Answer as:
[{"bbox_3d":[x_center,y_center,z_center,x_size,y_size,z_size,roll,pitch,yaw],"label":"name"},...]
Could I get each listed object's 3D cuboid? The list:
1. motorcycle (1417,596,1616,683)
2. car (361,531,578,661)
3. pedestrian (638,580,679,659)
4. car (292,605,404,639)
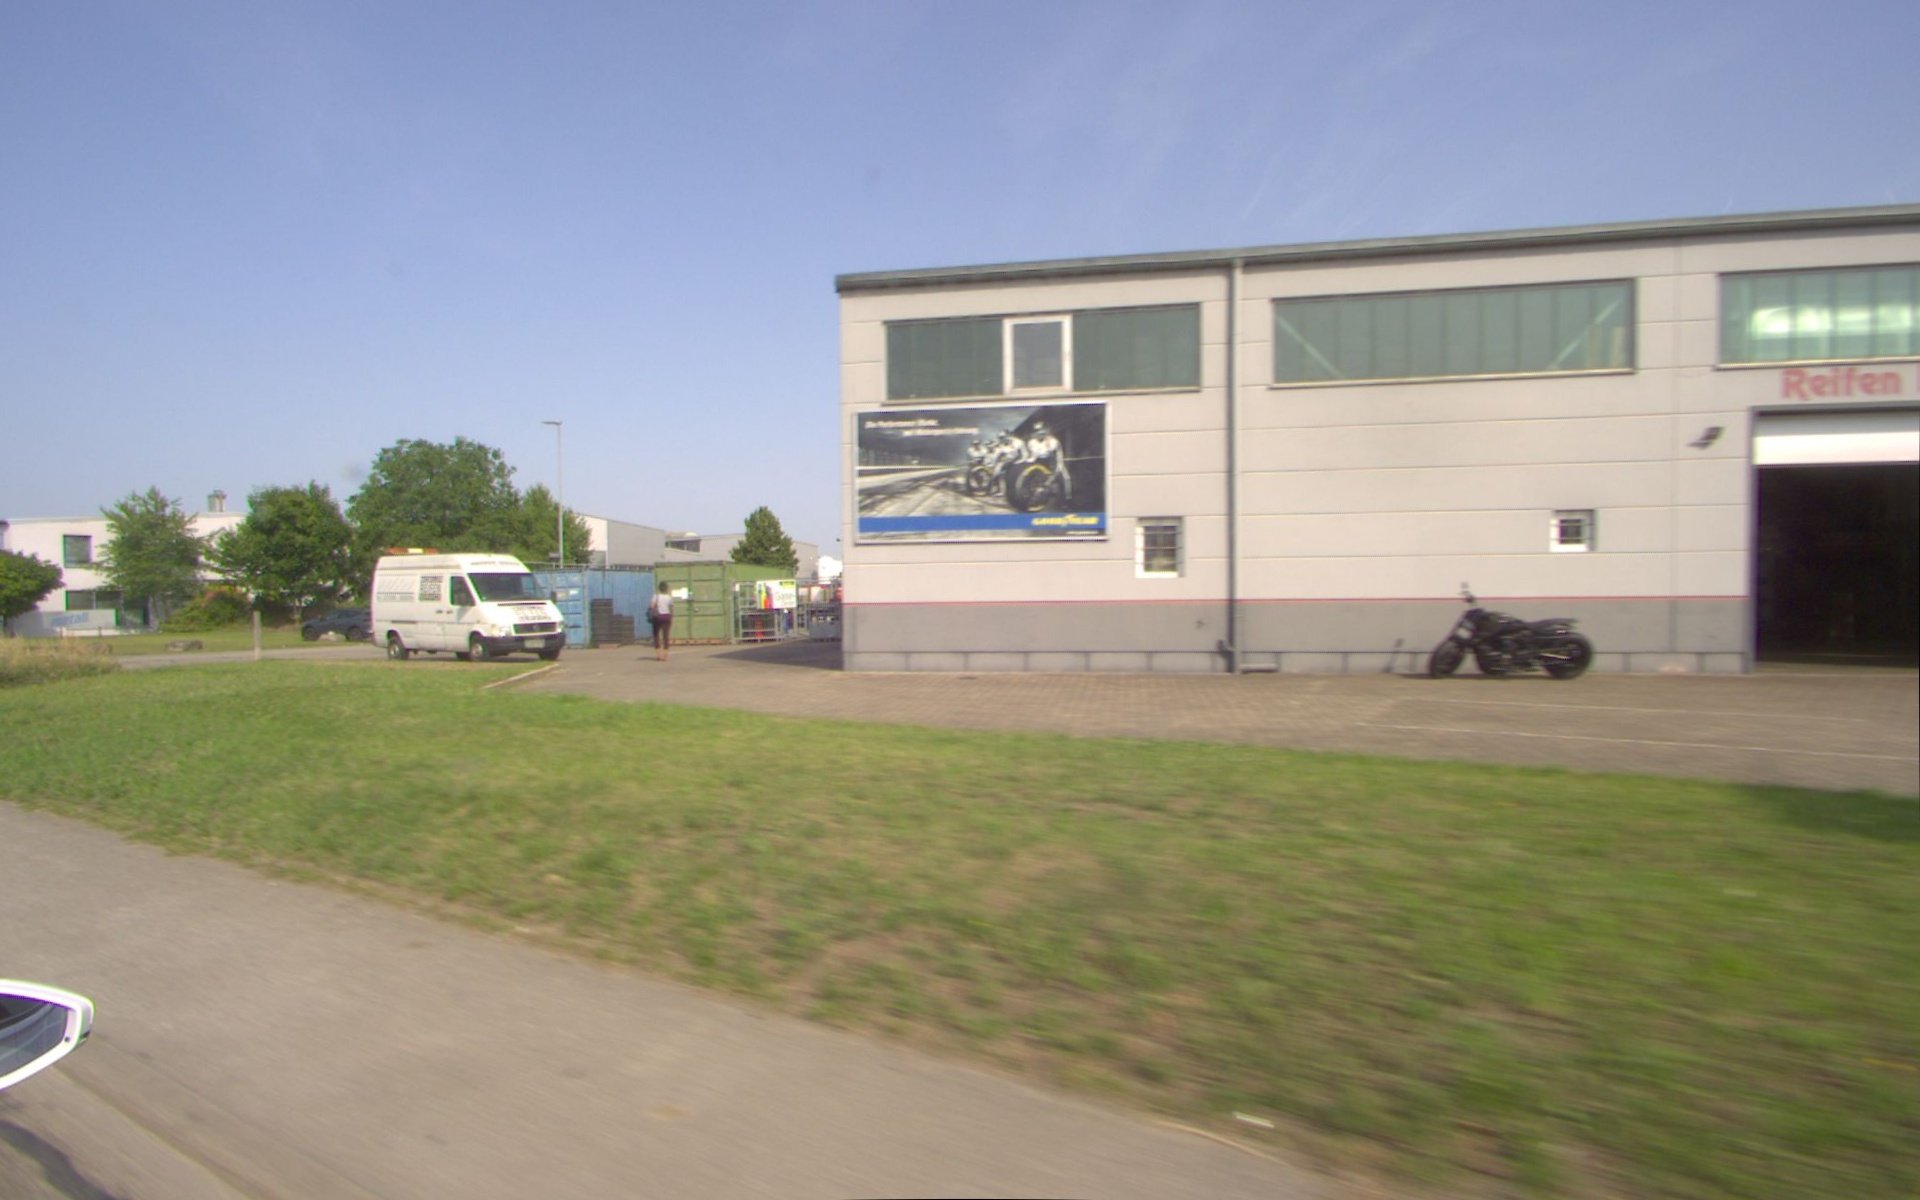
[{"bbox_3d":[7.325,0.514,13.272,2.160,1.109,0.803,-1,1,8],"label":"motorcycle"},{"bbox_3d":[-11.638,-0.062,23.573,5.800,2.741,1.969,0,1,34],"label":"car"},{"bbox_3d":[-6.501,0.409,21.571,0.694,1.662,0.745,-1,1,-29],"label":"pedestrian"},{"bbox_3d":[-27.301,0.962,44.723,4.267,1.428,1.785,-1,1,15],"label":"car"}]
